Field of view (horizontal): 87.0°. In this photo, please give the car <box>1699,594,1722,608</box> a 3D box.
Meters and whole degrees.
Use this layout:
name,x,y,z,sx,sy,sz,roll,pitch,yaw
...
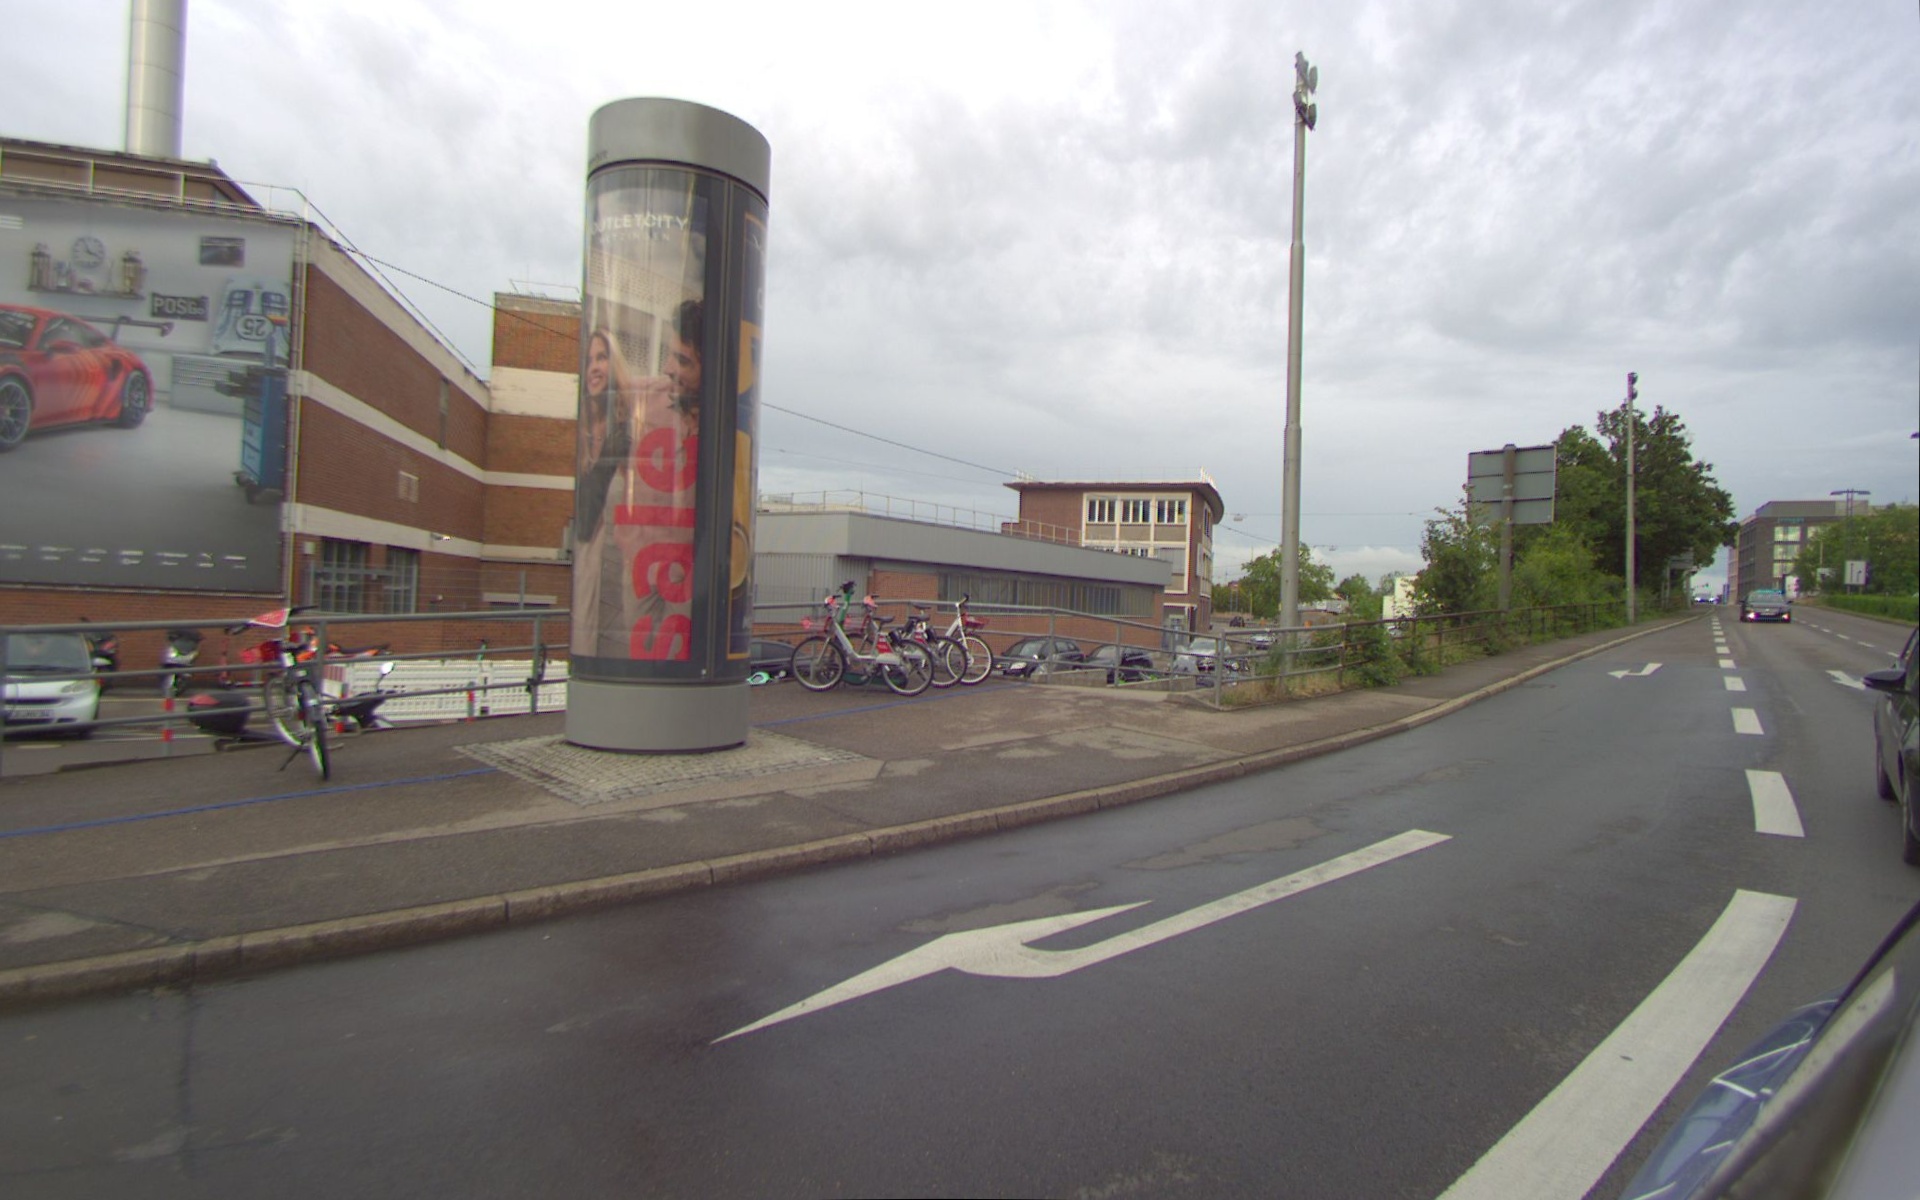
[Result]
name,x,y,z,sx,sy,sz,roll,pitch,yaw
car,86.902,0.097,117.142,1.805,1.457,4.250,2,0,33

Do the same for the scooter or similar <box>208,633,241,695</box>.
name,x,y,z,sx,sy,sz,roll,pitch,yaw
scooter or similar,-14.619,1.255,20.129,0.495,1.110,1.639,-1,0,-35

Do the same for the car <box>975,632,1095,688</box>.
name,x,y,z,sx,sy,sz,roll,pitch,yaw
car,2.615,1.982,34.376,1.777,1.688,4.438,1,-1,41

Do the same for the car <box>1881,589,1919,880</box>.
name,x,y,z,sx,sy,sz,roll,pitch,yaw
car,6.813,0.706,6.111,1.687,1.526,3.953,0,1,40

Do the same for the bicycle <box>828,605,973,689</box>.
name,x,y,z,sx,sy,sz,roll,pitch,yaw
bicycle,-0.702,0.555,12.158,1.673,0.933,0.486,1,1,4

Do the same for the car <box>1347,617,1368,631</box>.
name,x,y,z,sx,sy,sz,roll,pitch,yaw
car,44.508,2.710,113.310,1.695,1.444,3.982,1,0,14

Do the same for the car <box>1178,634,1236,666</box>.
name,x,y,z,sx,sy,sz,roll,pitch,yaw
car,12.465,2.487,50.874,1.720,1.406,3.955,1,0,31

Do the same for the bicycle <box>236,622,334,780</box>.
name,x,y,z,sx,sy,sz,roll,pitch,yaw
bicycle,-4.796,0.658,7.156,0.414,0.933,1.615,1,0,-39

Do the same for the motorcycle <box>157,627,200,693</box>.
name,x,y,z,sx,sy,sz,roll,pitch,yaw
motorcycle,-15.197,1.142,19.706,0.574,1.166,1.720,-1,0,-35

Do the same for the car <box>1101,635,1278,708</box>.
name,x,y,z,sx,sy,sz,roll,pitch,yaw
car,5.365,1.631,24.089,1.688,1.444,3.999,1,0,-36

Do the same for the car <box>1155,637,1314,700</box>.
name,x,y,z,sx,sy,sz,roll,pitch,yaw
car,7.400,1.797,27.577,1.688,1.444,3.999,1,0,-36

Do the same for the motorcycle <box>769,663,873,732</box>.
name,x,y,z,sx,sy,sz,roll,pitch,yaw
motorcycle,-2.104,1.449,15.225,1.600,0.933,0.418,0,0,27

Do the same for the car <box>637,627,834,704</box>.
name,x,y,z,sx,sy,sz,roll,pitch,yaw
car,-5.247,1.478,24.177,1.880,1.570,4.445,1,-1,38

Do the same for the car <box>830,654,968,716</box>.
name,x,y,z,sx,sy,sz,roll,pitch,yaw
car,-1.655,2.337,28.720,1.712,1.444,3.943,1,-1,39

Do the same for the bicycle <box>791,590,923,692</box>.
name,x,y,z,sx,sy,sz,roll,pitch,yaw
bicycle,-1.188,0.463,11.688,1.438,1.087,0.442,2,3,9

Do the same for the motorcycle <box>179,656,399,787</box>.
name,x,y,z,sx,sy,sz,roll,pitch,yaw
motorcycle,-5.668,0.990,8.629,0.400,0.901,1.521,1,1,36

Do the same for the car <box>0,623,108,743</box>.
name,x,y,z,sx,sy,sz,roll,pitch,yaw
car,-13.940,1.152,15.241,1.541,1.508,3.992,2,-1,-42

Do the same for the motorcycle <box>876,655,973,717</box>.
name,x,y,z,sx,sy,sz,roll,pitch,yaw
motorcycle,-0.595,1.409,16.782,1.599,0.933,0.418,0,0,25

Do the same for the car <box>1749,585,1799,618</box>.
name,x,y,z,sx,sy,sz,roll,pitch,yaw
car,38.048,0.046,47.319,1.741,1.493,4.011,0,1,39

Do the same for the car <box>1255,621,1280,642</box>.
name,x,y,z,sx,sy,sz,roll,pitch,yaw
car,23.419,2.370,76.981,1.698,1.444,3.976,1,0,18

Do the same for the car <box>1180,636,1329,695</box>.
name,x,y,z,sx,sy,sz,roll,pitch,yaw
car,8.548,1.865,29.660,1.688,1.444,3.999,1,0,-36

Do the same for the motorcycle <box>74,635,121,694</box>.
name,x,y,z,sx,sy,sz,roll,pitch,yaw
motorcycle,-16.193,1.183,19.021,0.531,0.985,1.616,-1,0,-35

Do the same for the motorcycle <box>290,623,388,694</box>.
name,x,y,z,sx,sy,sz,roll,pitch,yaw
motorcycle,-12.815,1.179,20.910,0.521,1.350,1.646,-1,0,38

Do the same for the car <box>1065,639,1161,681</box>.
name,x,y,z,sx,sy,sz,roll,pitch,yaw
car,5.956,2.264,39.050,1.713,1.422,4.211,1,-1,41

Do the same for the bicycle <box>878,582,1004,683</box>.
name,x,y,z,sx,sy,sz,roll,pitch,yaw
bicycle,-0.248,0.392,12.878,1.527,1.169,0.448,3,3,22
